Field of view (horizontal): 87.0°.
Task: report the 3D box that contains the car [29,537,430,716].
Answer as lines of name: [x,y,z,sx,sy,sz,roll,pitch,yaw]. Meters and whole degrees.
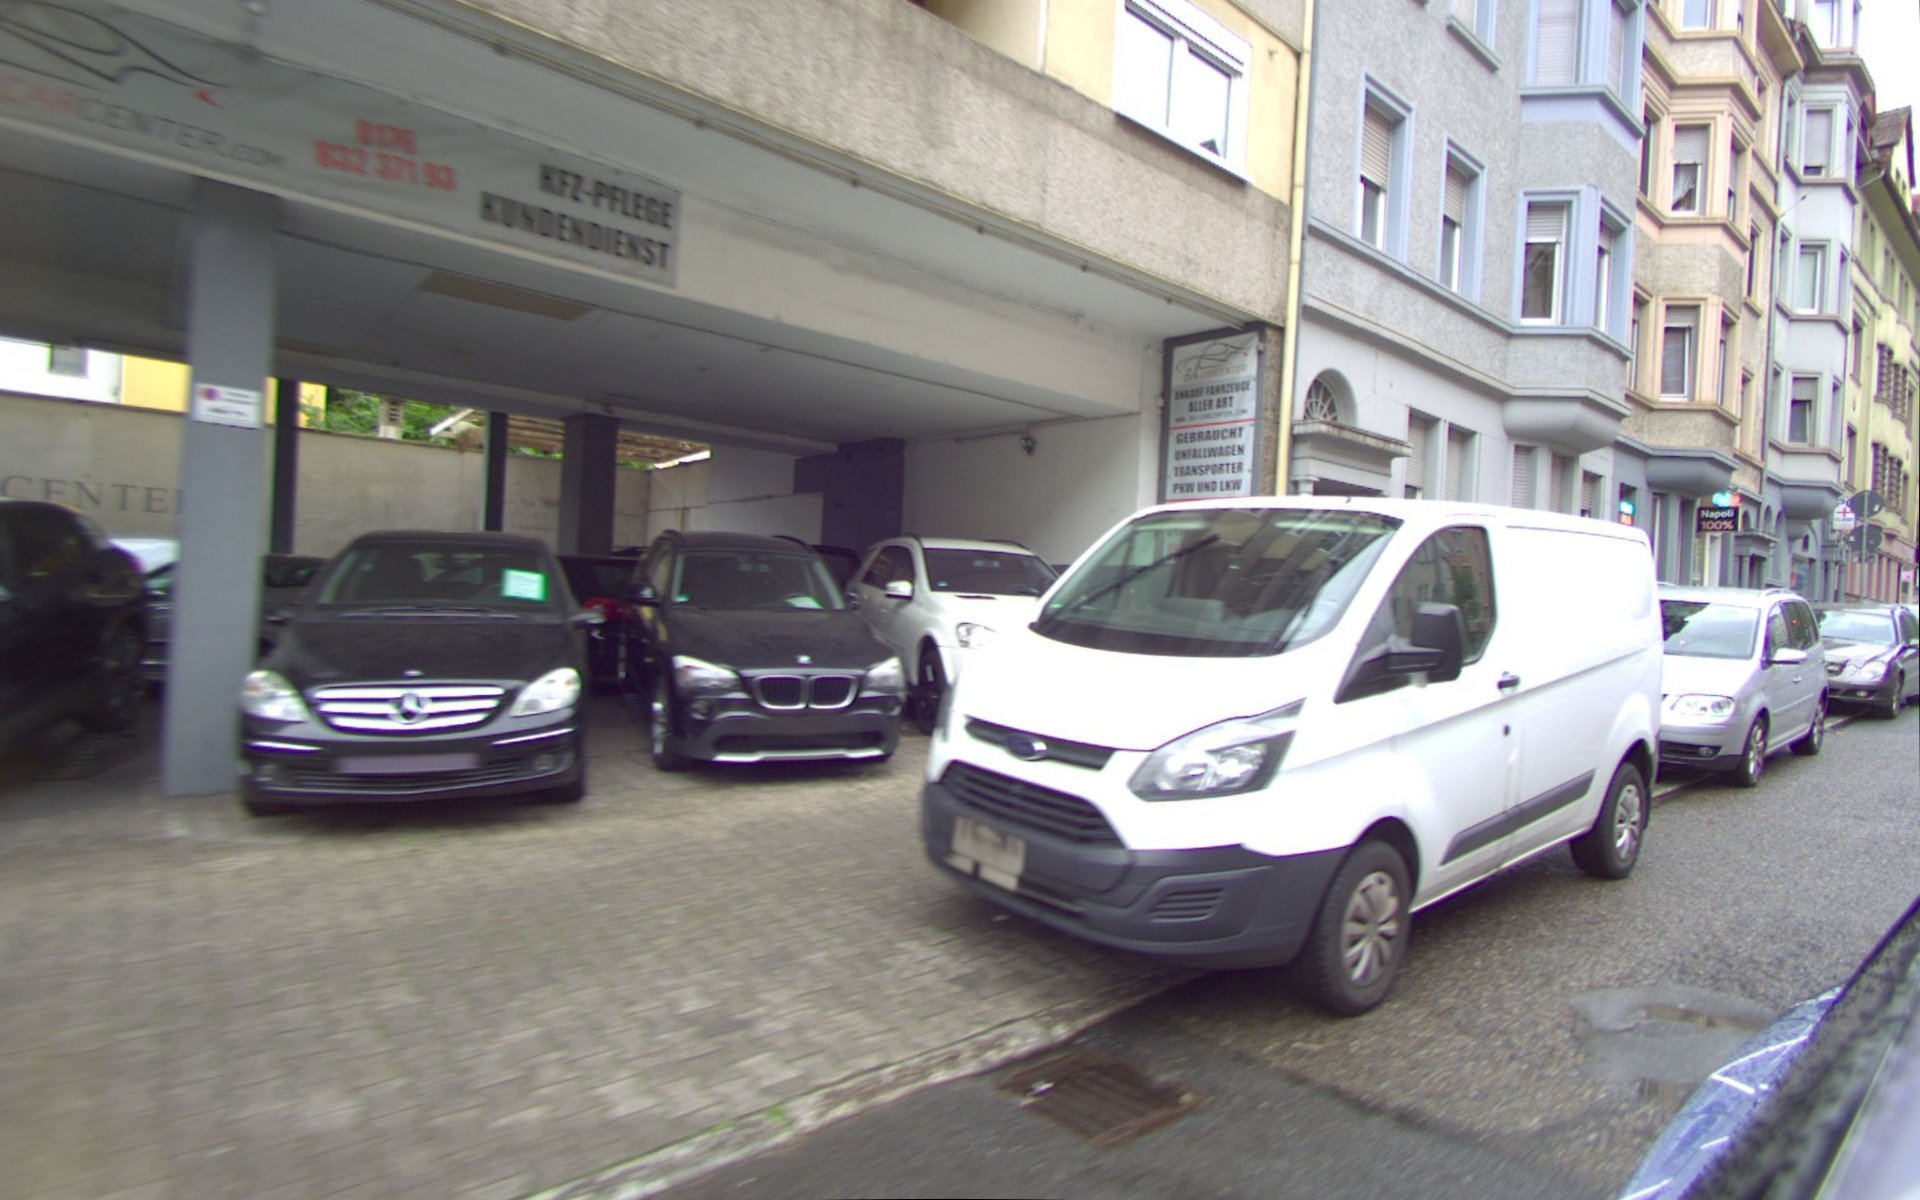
car: [-7.096,0.177,9.854,3.380,1.450,1.649,2,0,23]

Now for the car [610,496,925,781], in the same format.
car: [-1.821,0.211,8.348,1.678,1.736,4.008,2,1,-23]

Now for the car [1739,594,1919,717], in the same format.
car: [13.011,0.697,14.734,4.281,1.460,1.731,0,2,-40]

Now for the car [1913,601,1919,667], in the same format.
car: [22.432,0.711,22.253,3.863,1.415,1.708,0,-1,-40]

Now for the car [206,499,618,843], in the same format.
car: [-3.451,0.242,6.893,1.775,1.603,4.010,2,2,-23]

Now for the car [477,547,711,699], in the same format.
car: [-4.330,0.169,11.694,1.631,1.483,3.418,0,2,-37]

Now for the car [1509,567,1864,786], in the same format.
car: [7.092,0.563,9.715,4.235,1.617,1.731,0,3,-40]

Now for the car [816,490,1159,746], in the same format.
car: [-0.003,0.052,10.483,1.958,2.038,4.474,-1,2,-21]

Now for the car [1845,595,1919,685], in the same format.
car: [17.436,0.686,18.179,3.863,1.460,1.709,0,2,-40]

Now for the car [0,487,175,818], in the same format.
car: [-5.724,0.223,5.034,1.774,1.661,3.967,2,2,-21]

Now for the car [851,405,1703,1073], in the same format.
car: [1.975,0.374,5.294,4.737,1.980,1.994,0,2,-40]
